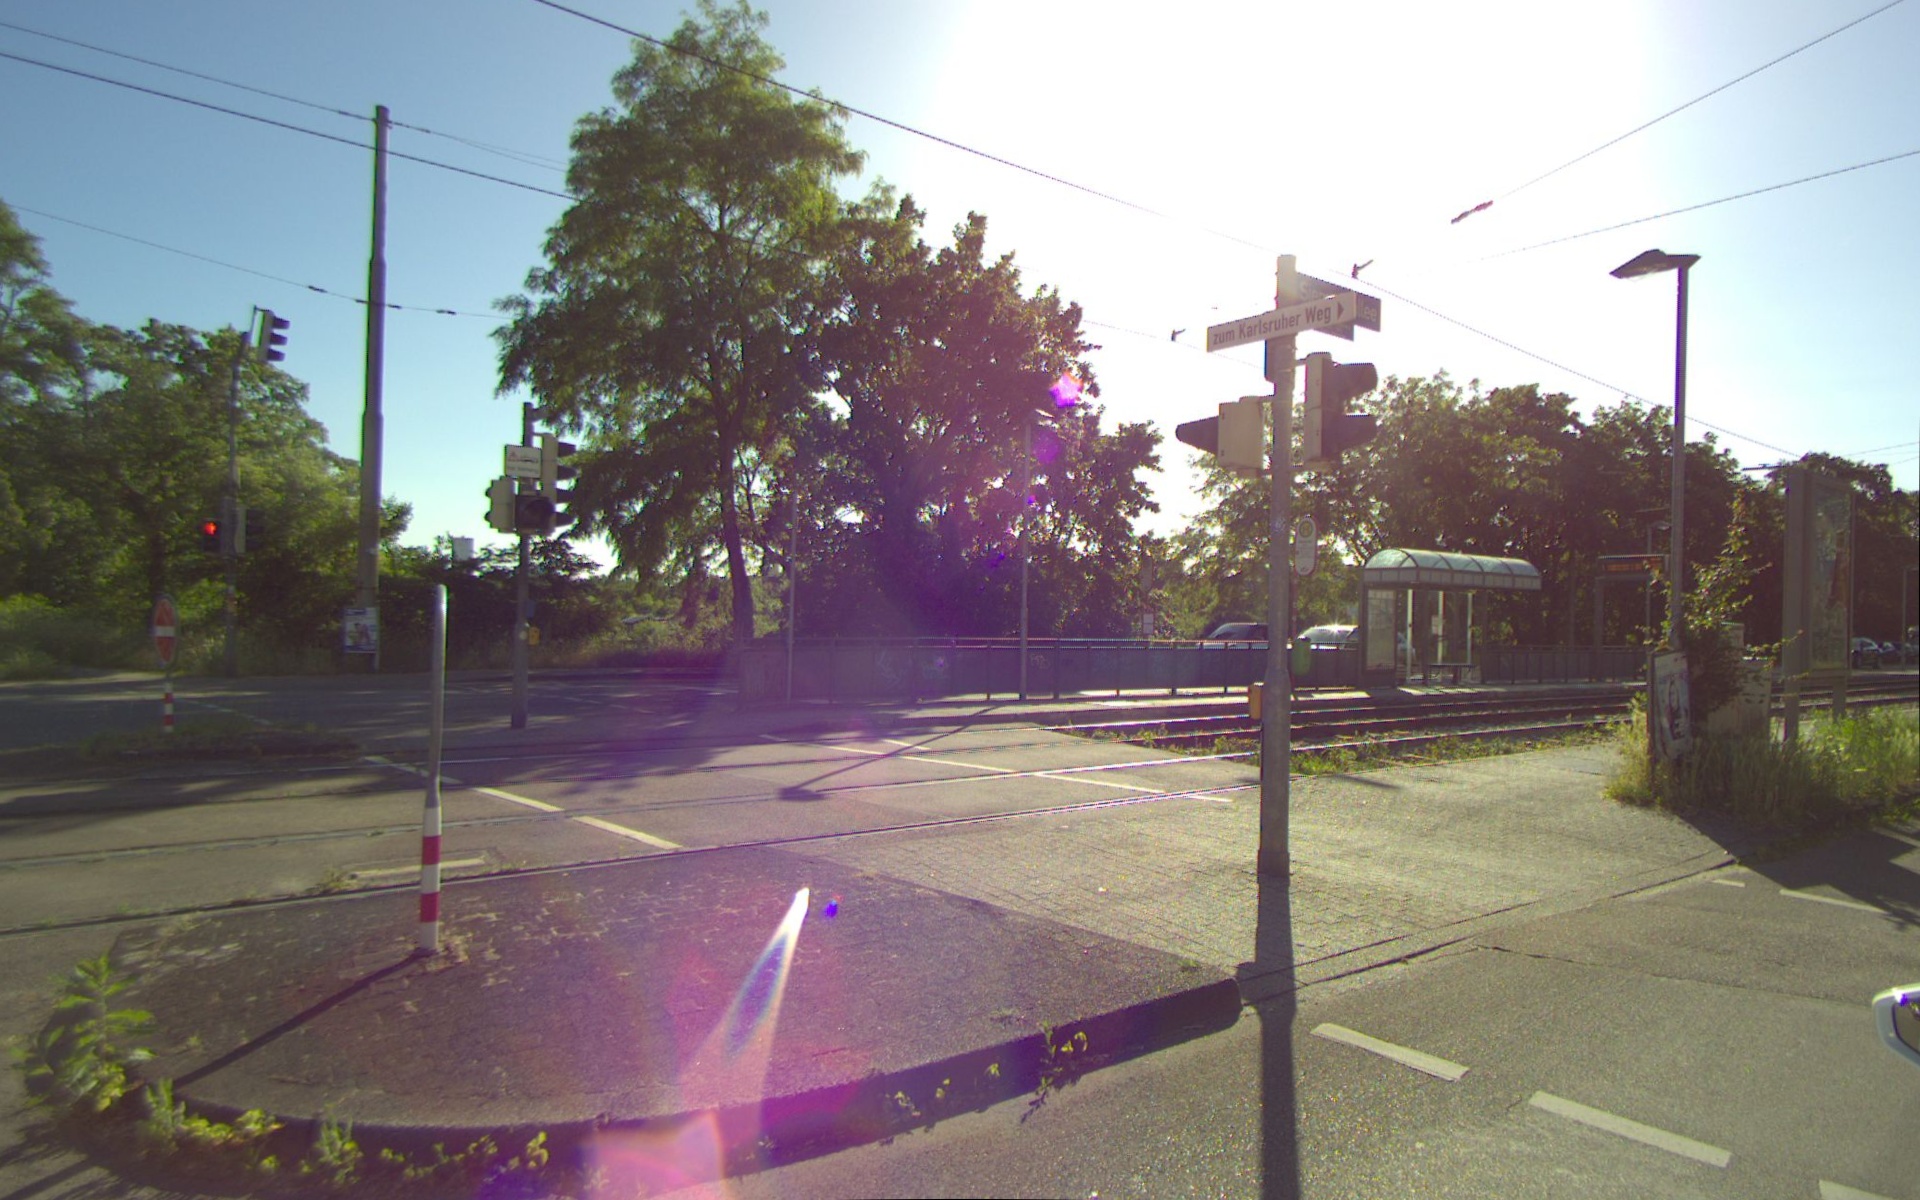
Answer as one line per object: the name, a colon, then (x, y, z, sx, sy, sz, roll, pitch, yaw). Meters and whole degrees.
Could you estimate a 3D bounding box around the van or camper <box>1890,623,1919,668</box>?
van or camper: (70.041, 3.313, 72.742, 6.720, 3.147, 2.573, 2, -1, -35)

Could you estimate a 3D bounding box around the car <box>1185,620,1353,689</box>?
car: (7.434, 1.293, 24.063, 3.961, 1.486, 1.793, 3, -1, -35)

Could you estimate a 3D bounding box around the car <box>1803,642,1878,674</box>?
car: (45.280, 2.957, 51.651, 4.334, 1.489, 1.980, 3, -1, -36)

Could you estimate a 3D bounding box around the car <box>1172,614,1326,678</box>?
car: (7.949, 1.256, 27.522, 3.957, 1.588, 1.910, 2, -1, -33)

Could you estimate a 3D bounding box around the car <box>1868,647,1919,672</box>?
car: (64.207, 4.109, 68.894, 3.956, 1.582, 1.910, 2, -1, -32)

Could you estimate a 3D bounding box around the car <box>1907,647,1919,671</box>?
car: (62.150, 3.807, 63.807, 4.330, 1.489, 1.981, 3, -1, -34)
